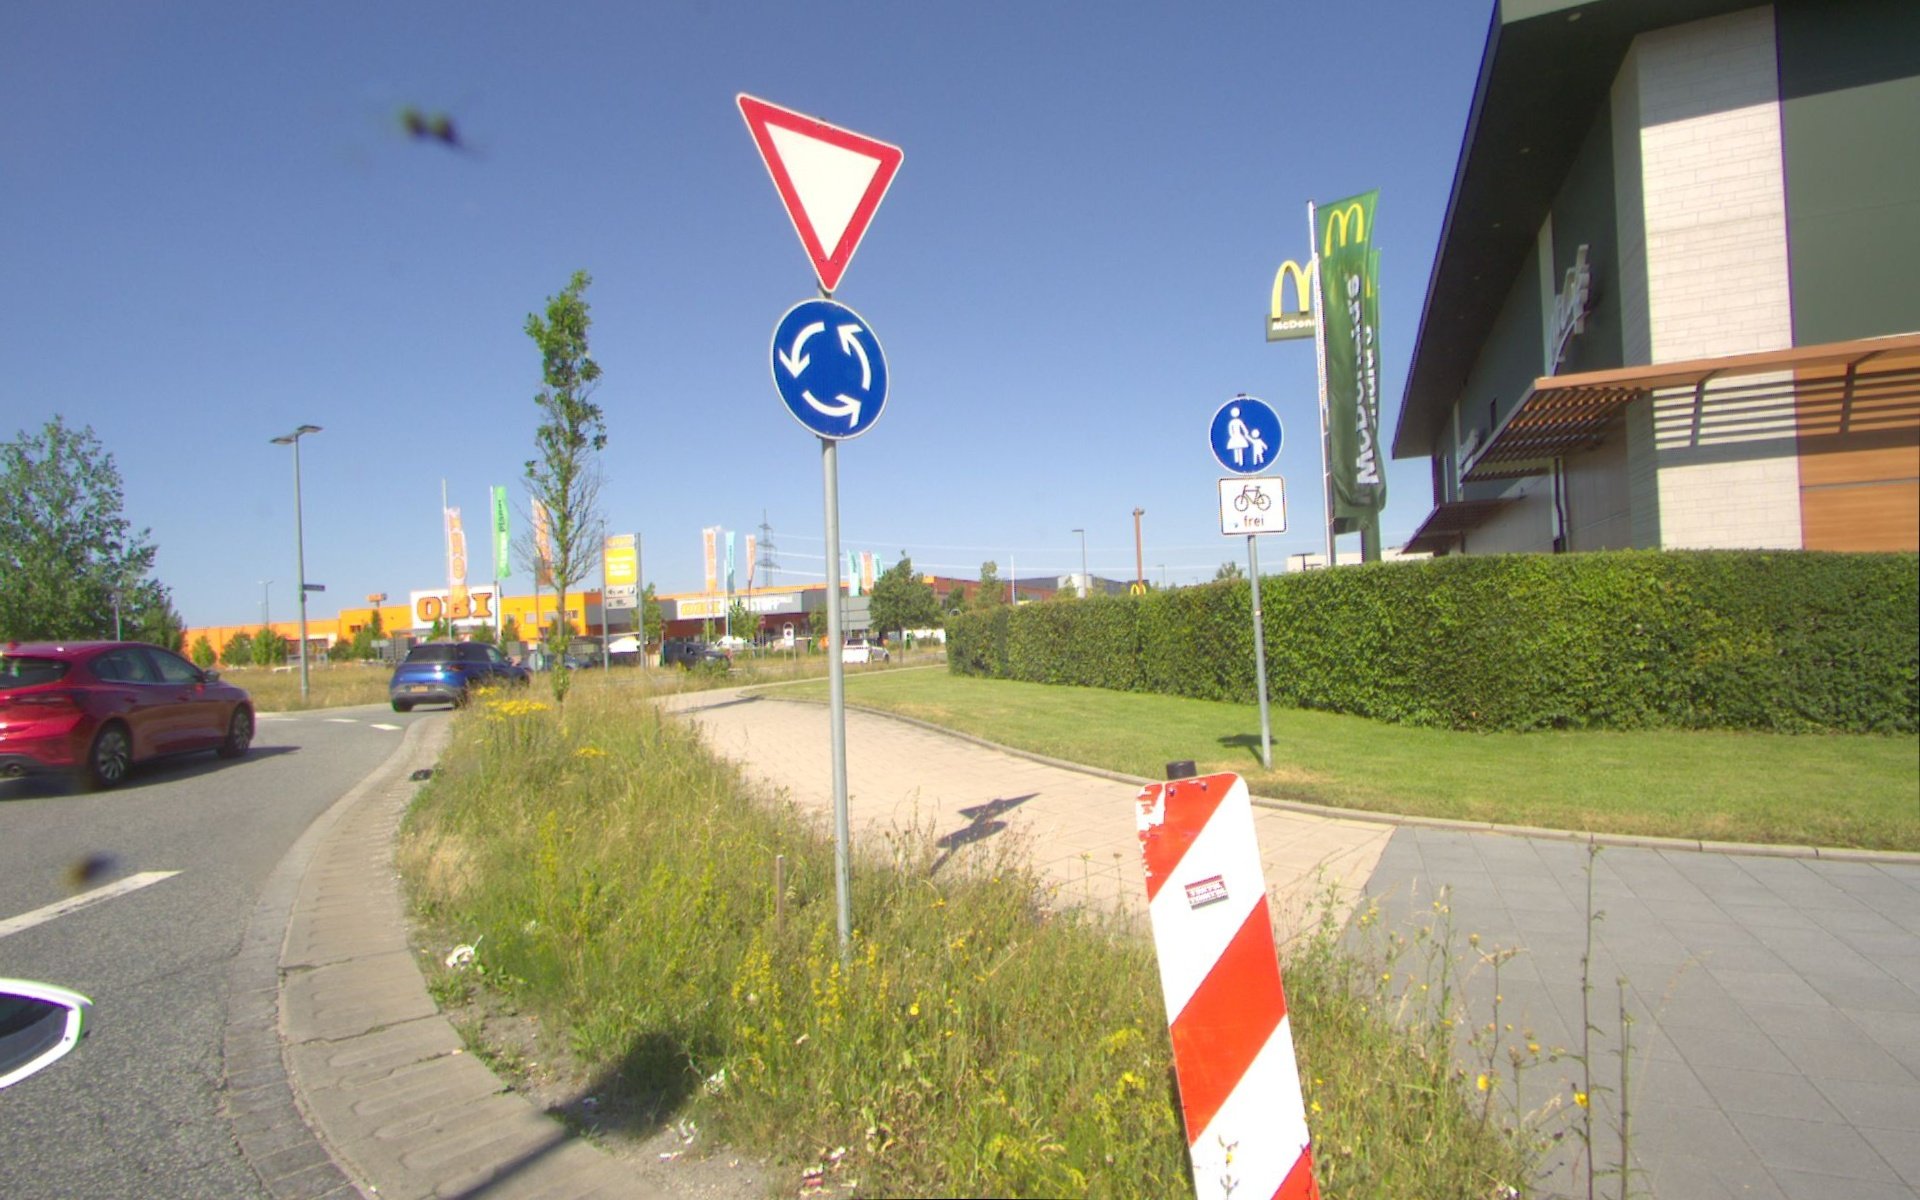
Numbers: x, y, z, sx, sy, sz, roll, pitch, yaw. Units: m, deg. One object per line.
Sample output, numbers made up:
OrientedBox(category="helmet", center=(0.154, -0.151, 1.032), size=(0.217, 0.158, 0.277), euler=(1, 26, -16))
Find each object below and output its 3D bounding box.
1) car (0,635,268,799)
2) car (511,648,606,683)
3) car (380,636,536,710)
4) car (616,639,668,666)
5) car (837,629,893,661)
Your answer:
OrientedBox(category="car", center=(-9.357, 1.119, 10.782), size=(1.775, 1.434, 4.114), euler=(-1, -2, -14))
OrientedBox(category="car", center=(-22.963, 3.746, 57.333), size=(4.609, 1.647, 2.078), euler=(-4, -2, 10))
OrientedBox(category="car", center=(-12.281, 1.744, 24.806), size=(1.821, 1.656, 4.082), euler=(-1, -2, -1))
OrientedBox(category="car", center=(-22.879, 3.773, 72.192), size=(1.670, 1.863, 3.771), euler=(-3, -4, 17))
OrientedBox(category="car", center=(-4.724, 2.236, 50.321), size=(1.488, 1.459, 3.344), euler=(-3, -1, 19))
